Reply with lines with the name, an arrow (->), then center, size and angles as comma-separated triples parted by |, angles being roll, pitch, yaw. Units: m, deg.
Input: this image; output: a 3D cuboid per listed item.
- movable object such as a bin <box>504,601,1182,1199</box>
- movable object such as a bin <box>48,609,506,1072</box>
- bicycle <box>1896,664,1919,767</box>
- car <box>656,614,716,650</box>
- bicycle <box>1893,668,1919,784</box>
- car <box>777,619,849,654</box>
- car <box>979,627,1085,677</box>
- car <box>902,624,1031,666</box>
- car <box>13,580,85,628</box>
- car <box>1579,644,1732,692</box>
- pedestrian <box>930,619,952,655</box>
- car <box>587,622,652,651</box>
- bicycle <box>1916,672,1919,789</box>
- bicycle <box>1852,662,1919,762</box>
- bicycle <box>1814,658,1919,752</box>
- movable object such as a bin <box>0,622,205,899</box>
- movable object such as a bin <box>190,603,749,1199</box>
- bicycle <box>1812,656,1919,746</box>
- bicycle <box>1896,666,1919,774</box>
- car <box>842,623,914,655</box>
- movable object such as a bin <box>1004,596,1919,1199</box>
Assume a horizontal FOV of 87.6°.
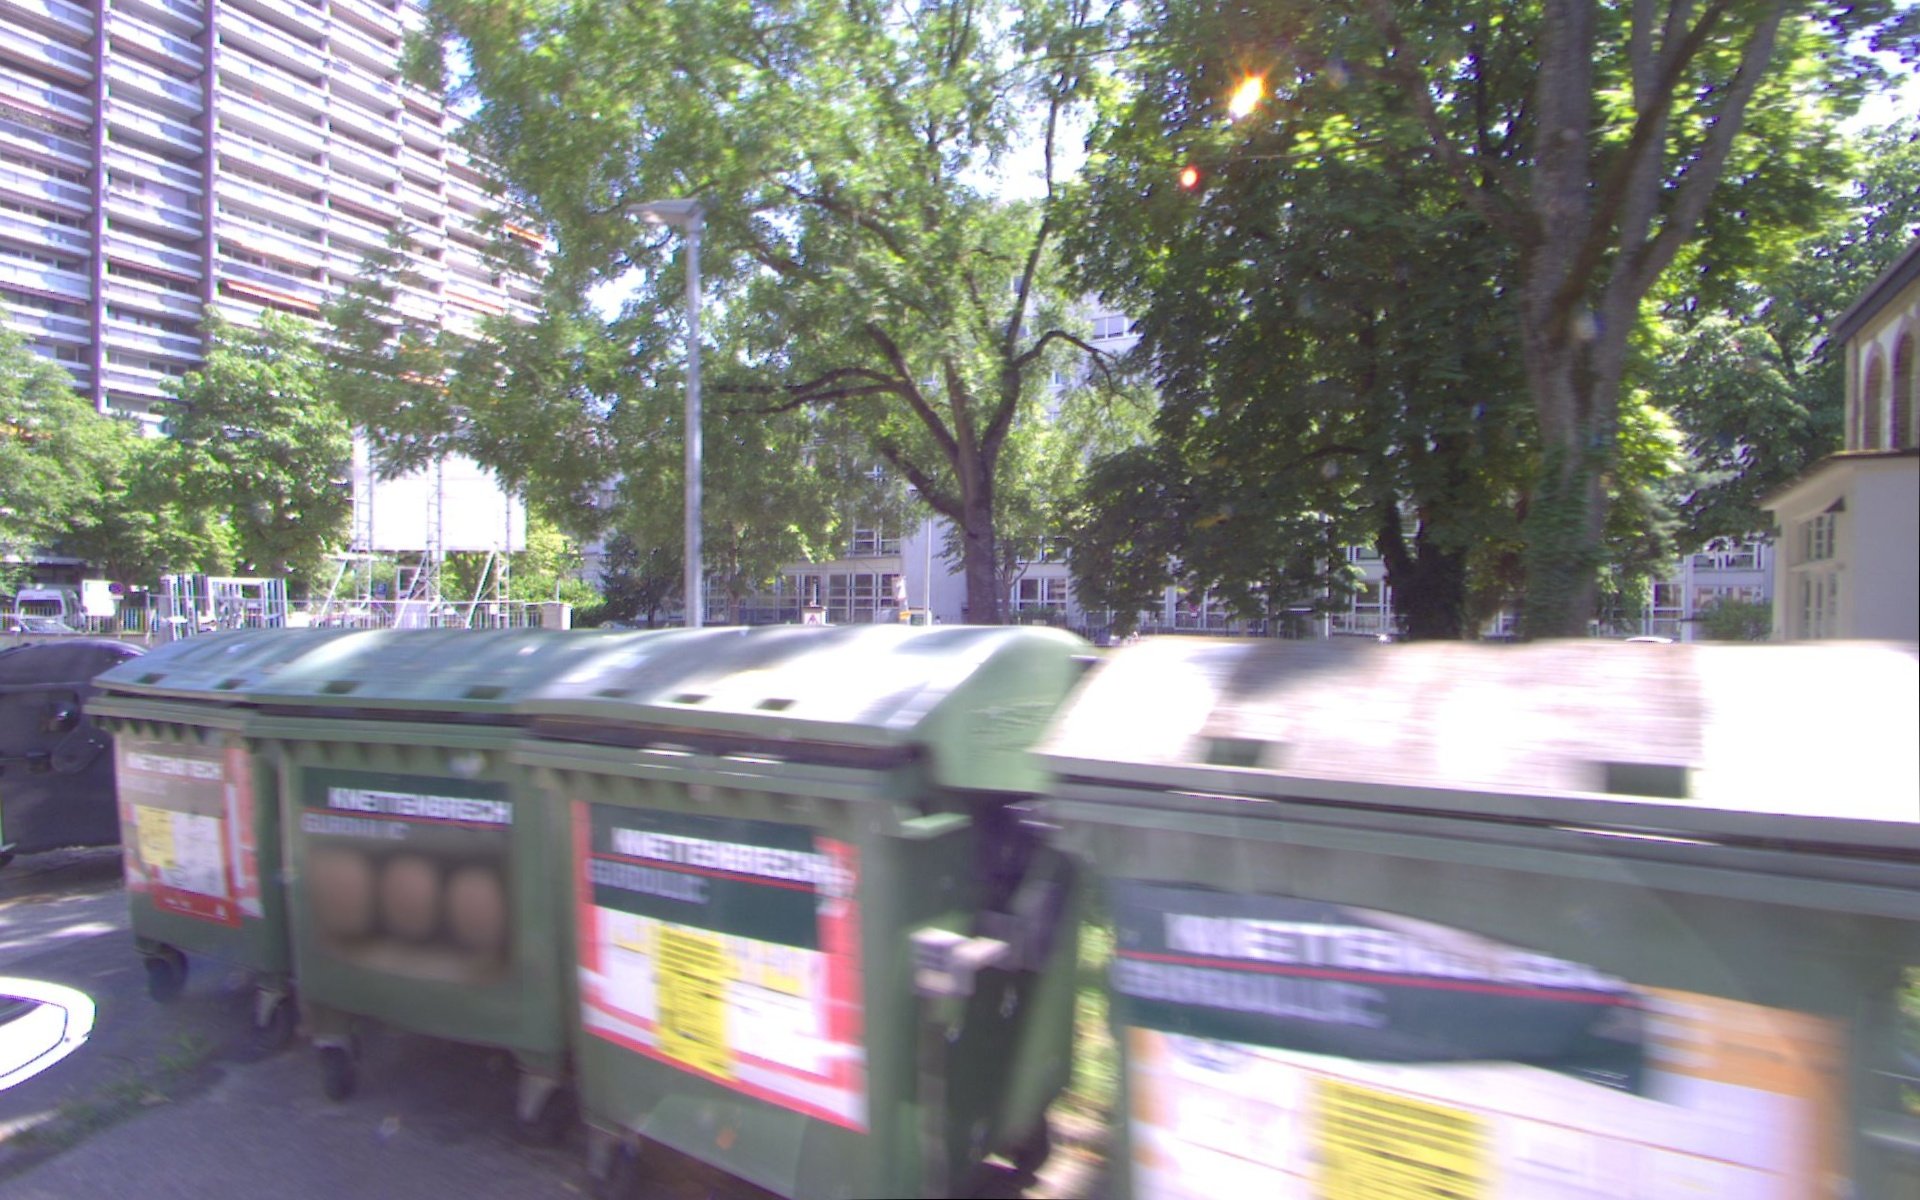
movable object such as a bin -> -0.269, 0.755, 2.566 | 1.357, 1.477, 1.073 | 0, -1, 32
movable object such as a bin -> -2.722, 0.782, 4.022 | 1.357, 1.477, 1.073 | 0, -1, 32
bicycle -> 11.342, 1.282, 10.771 | 1.800, 1.116, 0.404 | 0, 0, 32
car -> -13.352, 1.527, 48.615 | 1.988, 1.650, 3.912 | 1, -1, -28
bicycle -> 10.242, 1.253, 9.635 | 1.800, 1.116, 0.404 | 0, 0, 32
car -> -7.122, 1.756, 48.416 | 1.653, 1.610, 3.657 | 1, -1, -43
car -> 2.248, 1.632, 31.732 | 3.267, 1.498, 1.433 | 0, -1, 3
car -> 0.249, 1.613, 36.471 | 4.595, 1.456, 1.674 | 0, -1, 3
car -> -45.096, 0.230, 49.664 | 2.165, 2.287, 4.833 | 1, -1, -37
car -> 21.167, 2.043, 30.565 | 3.461, 1.360, 1.654 | 0, -1, 4
pedestrian -> -1.062, 2.080, 56.582 | 0.864, 2.040, 0.991 | 0, 0, 32
car -> -16.487, 1.729, 48.372 | 1.897, 1.327, 3.901 | 1, -1, -37
bicycle -> 9.857, 1.237, 8.979 | 1.800, 1.116, 0.404 | 0, 0, 32
bicycle -> 11.416, 1.296, 11.421 | 1.800, 1.116, 0.404 | 0, 0, 32
bicycle -> 11.660, 1.270, 12.211 | 1.800, 1.115, 0.404 | -3, -2, 32
movable object such as a bin -> -5.514, 0.878, 6.086 | 1.357, 1.477, 1.073 | 0, -1, 32
movable object such as a bin -> -1.560, 0.759, 3.236 | 1.357, 1.477, 1.073 | 0, -1, 32
bicycle -> 12.127, 1.284, 12.790 | 1.800, 1.115, 0.404 | -3, -2, 32
bicycle -> 10.899, 1.270, 10.300 | 1.800, 1.116, 0.404 | 0, 0, 32
car -> -3.961, 1.856, 47.968 | 1.651, 1.433, 3.680 | 1, -1, -40
movable object such as a bin -> 0.930, 0.747, 1.801 | 1.357, 1.477, 1.073 | 0, -1, 32
